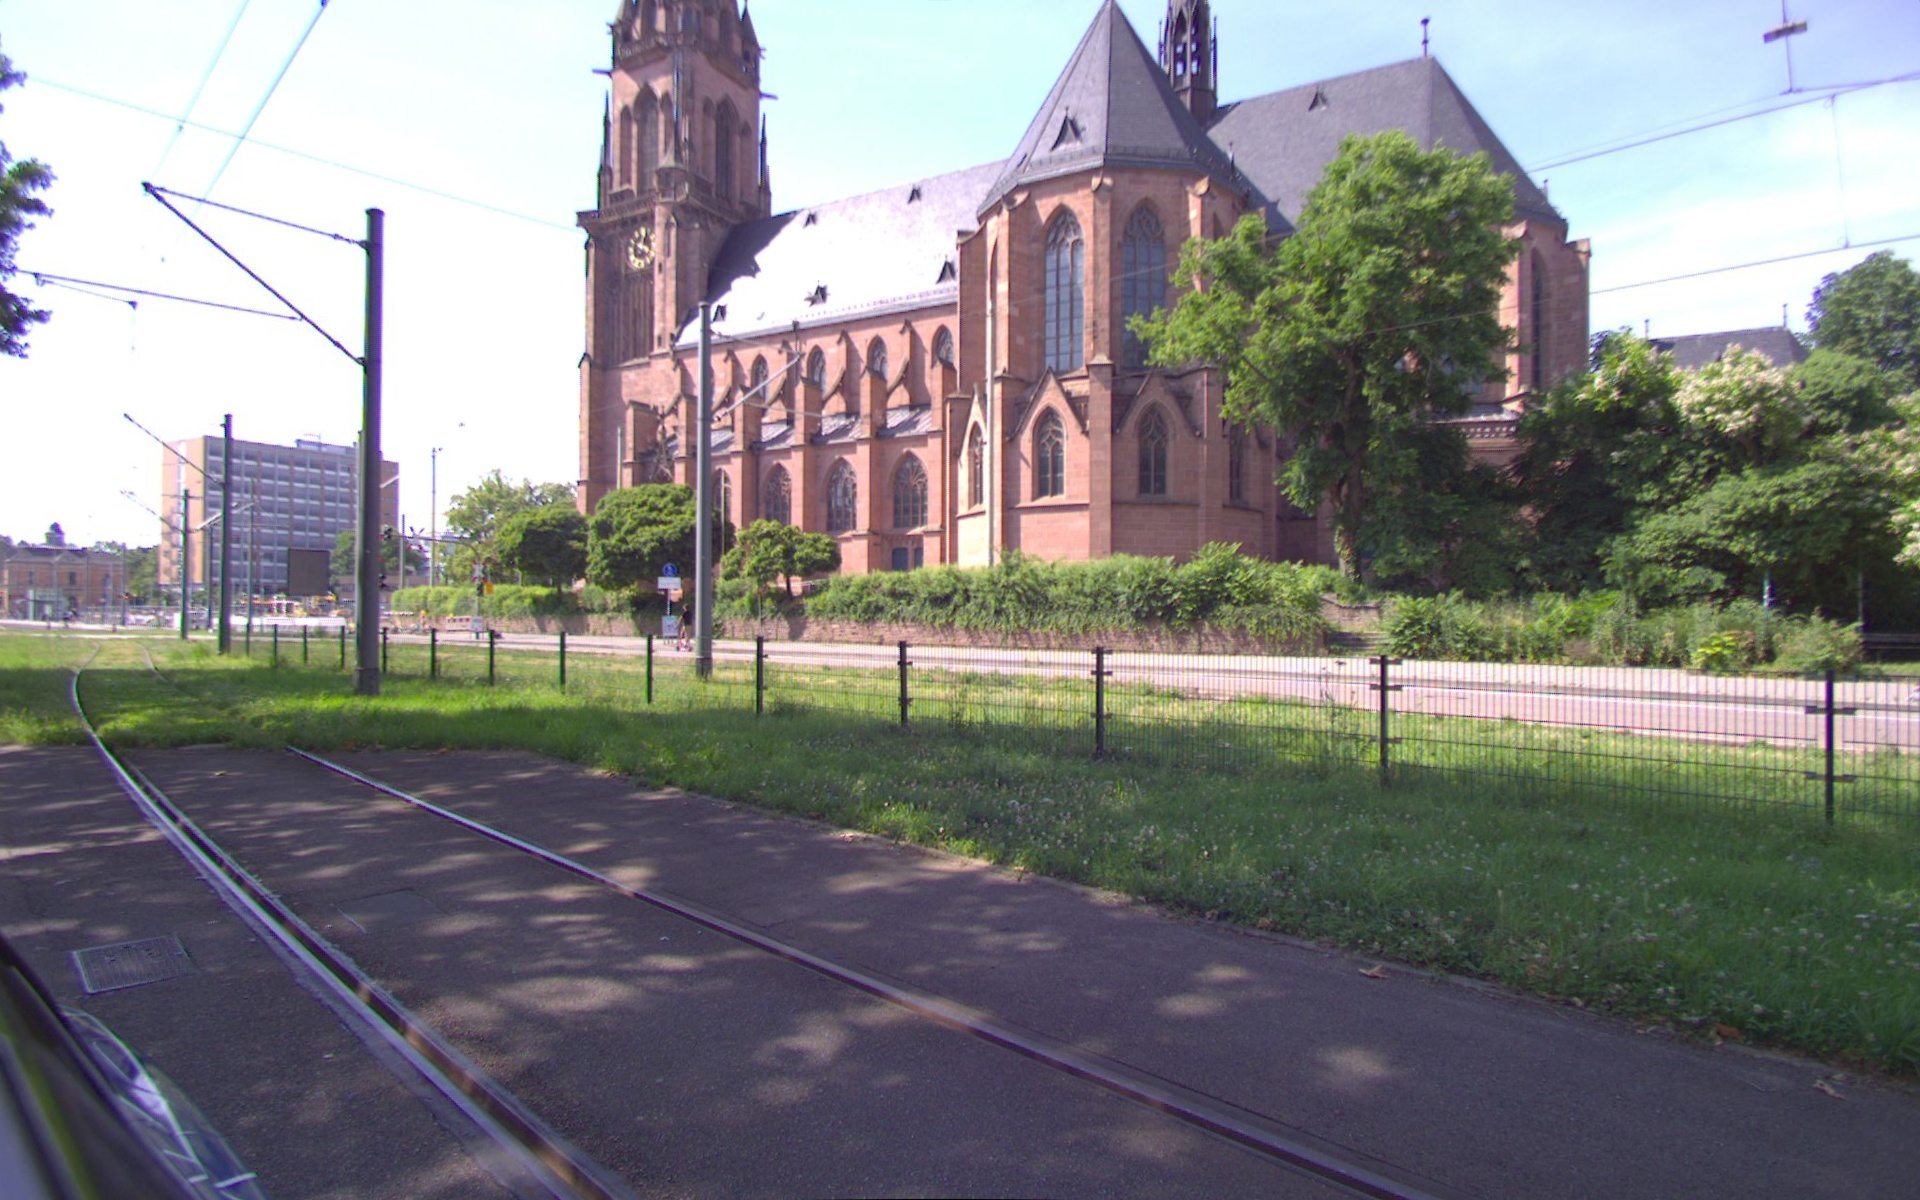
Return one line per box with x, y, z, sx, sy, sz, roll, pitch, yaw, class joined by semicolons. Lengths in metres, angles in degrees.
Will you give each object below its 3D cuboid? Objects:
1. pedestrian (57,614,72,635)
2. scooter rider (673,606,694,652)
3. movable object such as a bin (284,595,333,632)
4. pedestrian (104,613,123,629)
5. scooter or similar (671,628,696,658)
-72.288;1.994;81.695;0.758;1.666;0.849;-1;-2;41;pedestrian
-11.515;1.215;42.182;0.655;1.881;0.668;0;-1;3;scooter rider
-69.926;1.450;108.720;2.905;3.911;3.327;0;-1;8;movable object such as a bin
-96.146;2.394;114.931;1.420;1.820;1.409;-1;-1;37;pedestrian
-11.510;1.785;42.174;0.648;1.213;1.270;0;-1;2;scooter or similar
